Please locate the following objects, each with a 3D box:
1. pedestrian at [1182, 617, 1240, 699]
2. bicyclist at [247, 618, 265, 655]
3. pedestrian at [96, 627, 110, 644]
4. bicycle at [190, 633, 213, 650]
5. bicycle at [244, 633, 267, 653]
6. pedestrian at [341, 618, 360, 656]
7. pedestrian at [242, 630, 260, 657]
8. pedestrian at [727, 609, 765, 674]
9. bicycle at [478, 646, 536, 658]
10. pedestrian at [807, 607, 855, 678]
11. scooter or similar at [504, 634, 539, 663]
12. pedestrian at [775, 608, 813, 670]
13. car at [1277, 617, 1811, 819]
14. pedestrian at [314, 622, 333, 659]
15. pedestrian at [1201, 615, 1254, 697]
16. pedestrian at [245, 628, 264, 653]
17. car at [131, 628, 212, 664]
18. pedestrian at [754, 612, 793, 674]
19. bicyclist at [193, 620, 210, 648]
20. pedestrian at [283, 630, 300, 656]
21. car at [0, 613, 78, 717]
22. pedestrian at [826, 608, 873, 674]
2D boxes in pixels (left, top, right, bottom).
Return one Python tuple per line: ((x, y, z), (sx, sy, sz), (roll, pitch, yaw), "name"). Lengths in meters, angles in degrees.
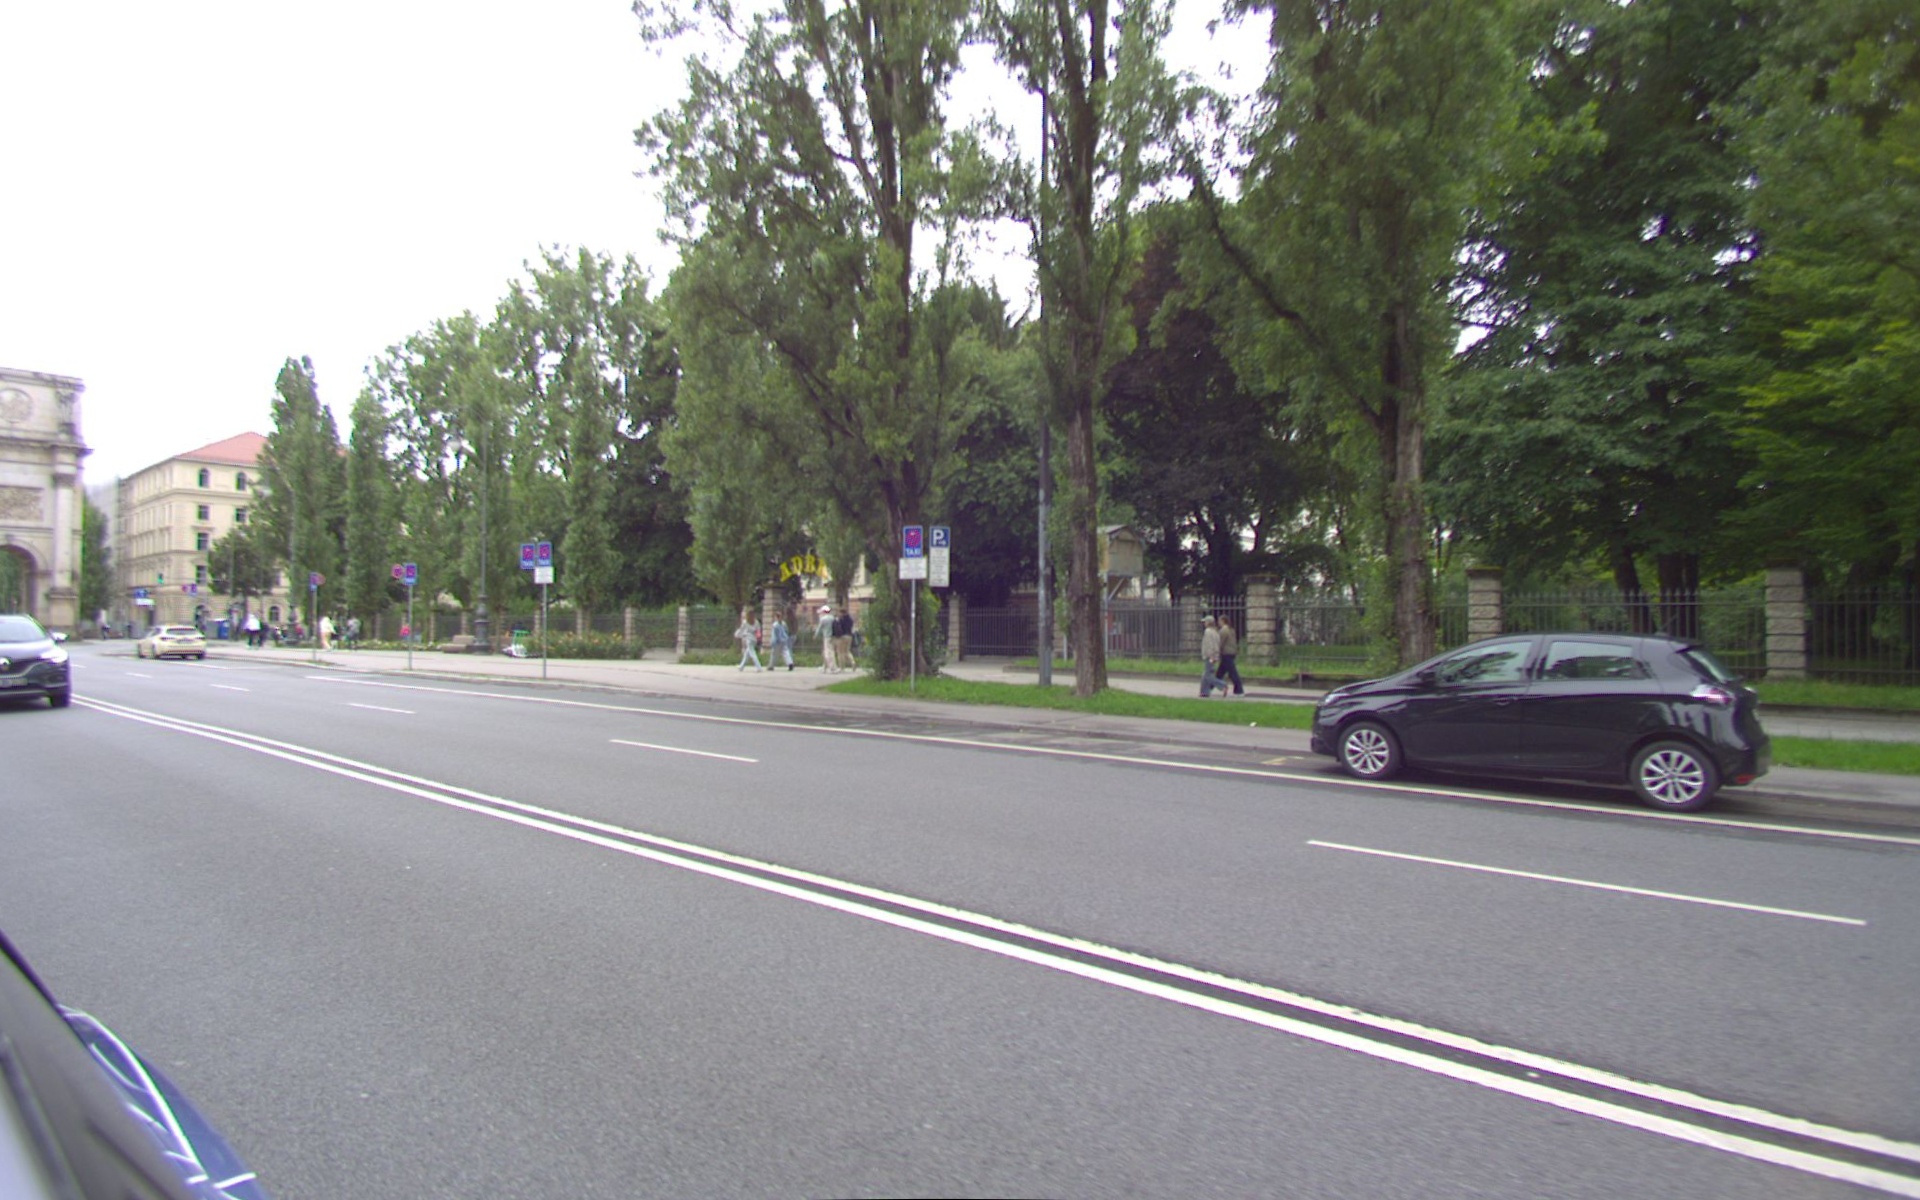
((4.917, 1.123, 19.858), (0.875, 1.560, 0.711), (-2, -2, 39), "pedestrian")
((-35.463, 1.851, 50.992), (0.660, 1.837, 0.583), (-2, -1, 39), "bicyclist")
((-89.672, 3.693, 105.887), (1.017, 1.837, 0.883), (1, -2, -42), "pedestrian")
((-43.605, 2.361, 58.168), (1.912, 0.959, 0.666), (-2, -1, 40), "bicycle")
((-35.493, 2.166, 51.010), (1.912, 0.959, 0.464), (-2, -1, 40), "bicycle")
((-28.095, 1.690, 46.671), (0.581, 1.744, 0.527), (-1, -2, 29), "pedestrian")
((-47.171, 2.897, 67.315), (0.945, 1.731, 1.032), (0, -1, -37), "pedestrian")
((-5.963, 1.153, 28.209), (0.907, 1.760, 0.623), (-2, -2, 40), "pedestrian")
((-20.940, 2.404, 46.867), (1.331, 0.456, 2.204), (-2, -2, 18), "bicycle")
((-3.477, 1.127, 27.264), (1.092, 1.847, 0.702), (-1, -1, 40), "pedestrian")
((-18.520, 2.042, 42.729), (1.413, 1.187, 0.738), (-1, -4, 36), "scooter or similar")
((-4.788, 1.118, 29.167), (0.910, 1.729, 0.653), (-2, -2, 40), "pedestrian")
((5.693, 1.026, 10.209), (4.386, 1.596, 1.924), (-1, -4, 41), "car")
((-30.331, 1.907, 48.196), (0.581, 1.744, 0.527), (-1, -2, 29), "pedestrian")
((5.399, 1.119, 20.425), (0.812, 1.617, 0.711), (-2, -2, 39), "pedestrian")
((-50.002, 2.876, 71.736), (0.944, 1.731, 1.033), (0, -1, -28), "pedestrian")
((-33.979, 1.998, 43.592), (4.463, 1.347, 1.774), (-5, -4, 39), "car")
((-5.268, 1.218, 28.646), (0.885, 1.713, 0.681), (-2, -2, 40), "pedestrian")
((-43.556, 1.941, 58.137), (0.660, 1.604, 0.639), (-2, -1, 39), "bicyclist")
((-50.439, 3.248, 76.403), (0.976, 1.885, 1.032), (0, -1, -39), "pedestrian")
((-16.489, 1.046, 17.039), (4.181, 1.598, 1.817), (-1, -1, 40), "car")
((-3.050, 1.113, 27.857), (1.092, 1.786, 0.702), (-1, -1, 40), "pedestrian")
